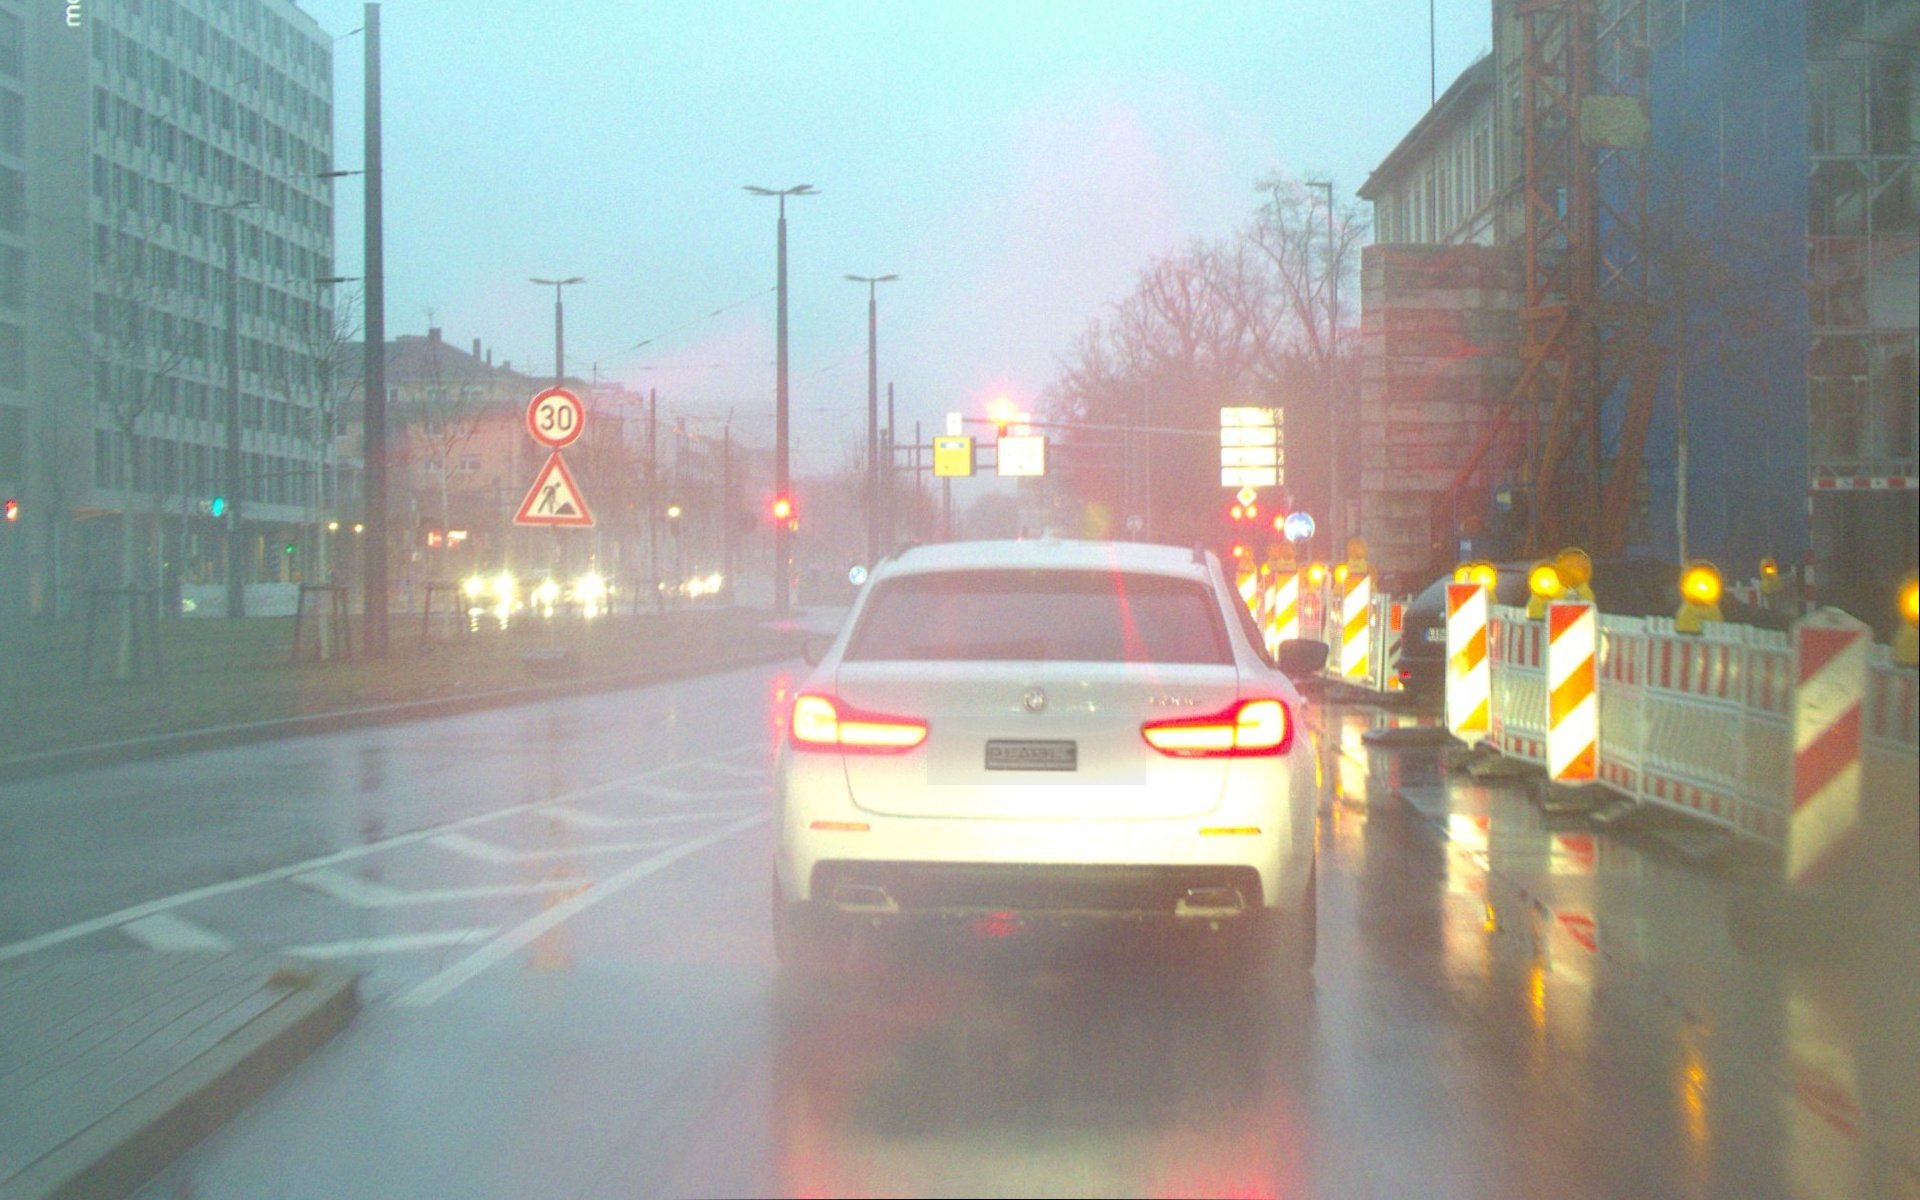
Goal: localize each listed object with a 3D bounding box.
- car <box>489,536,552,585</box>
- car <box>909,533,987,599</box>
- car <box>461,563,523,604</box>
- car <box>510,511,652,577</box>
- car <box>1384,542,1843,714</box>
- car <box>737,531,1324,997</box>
[{"bbox_3d":[-18.289,-1.657,143.230,1.993,2.007,4.538,0,1,1],"label":"car"},{"bbox_3d":[-0.289,-0.882,88.040,1.901,1.636,4.000,1,1,1],"label":"car"},{"bbox_3d":[-18.112,-0.649,133.102,1.739,1.487,3.542,1,1,3],"label":"car"},{"bbox_3d":[-11.618,-1.716,105.319,3.986,1.968,2.001,0,1,-17],"label":"car"},{"bbox_3d":[6.170,0.236,32.345,4.082,1.513,1.908,0,1,-35],"label":"car"},{"bbox_3d":[0.237,0.480,13.433,1.852,1.460,4.947,1,1,0],"label":"car"}]
